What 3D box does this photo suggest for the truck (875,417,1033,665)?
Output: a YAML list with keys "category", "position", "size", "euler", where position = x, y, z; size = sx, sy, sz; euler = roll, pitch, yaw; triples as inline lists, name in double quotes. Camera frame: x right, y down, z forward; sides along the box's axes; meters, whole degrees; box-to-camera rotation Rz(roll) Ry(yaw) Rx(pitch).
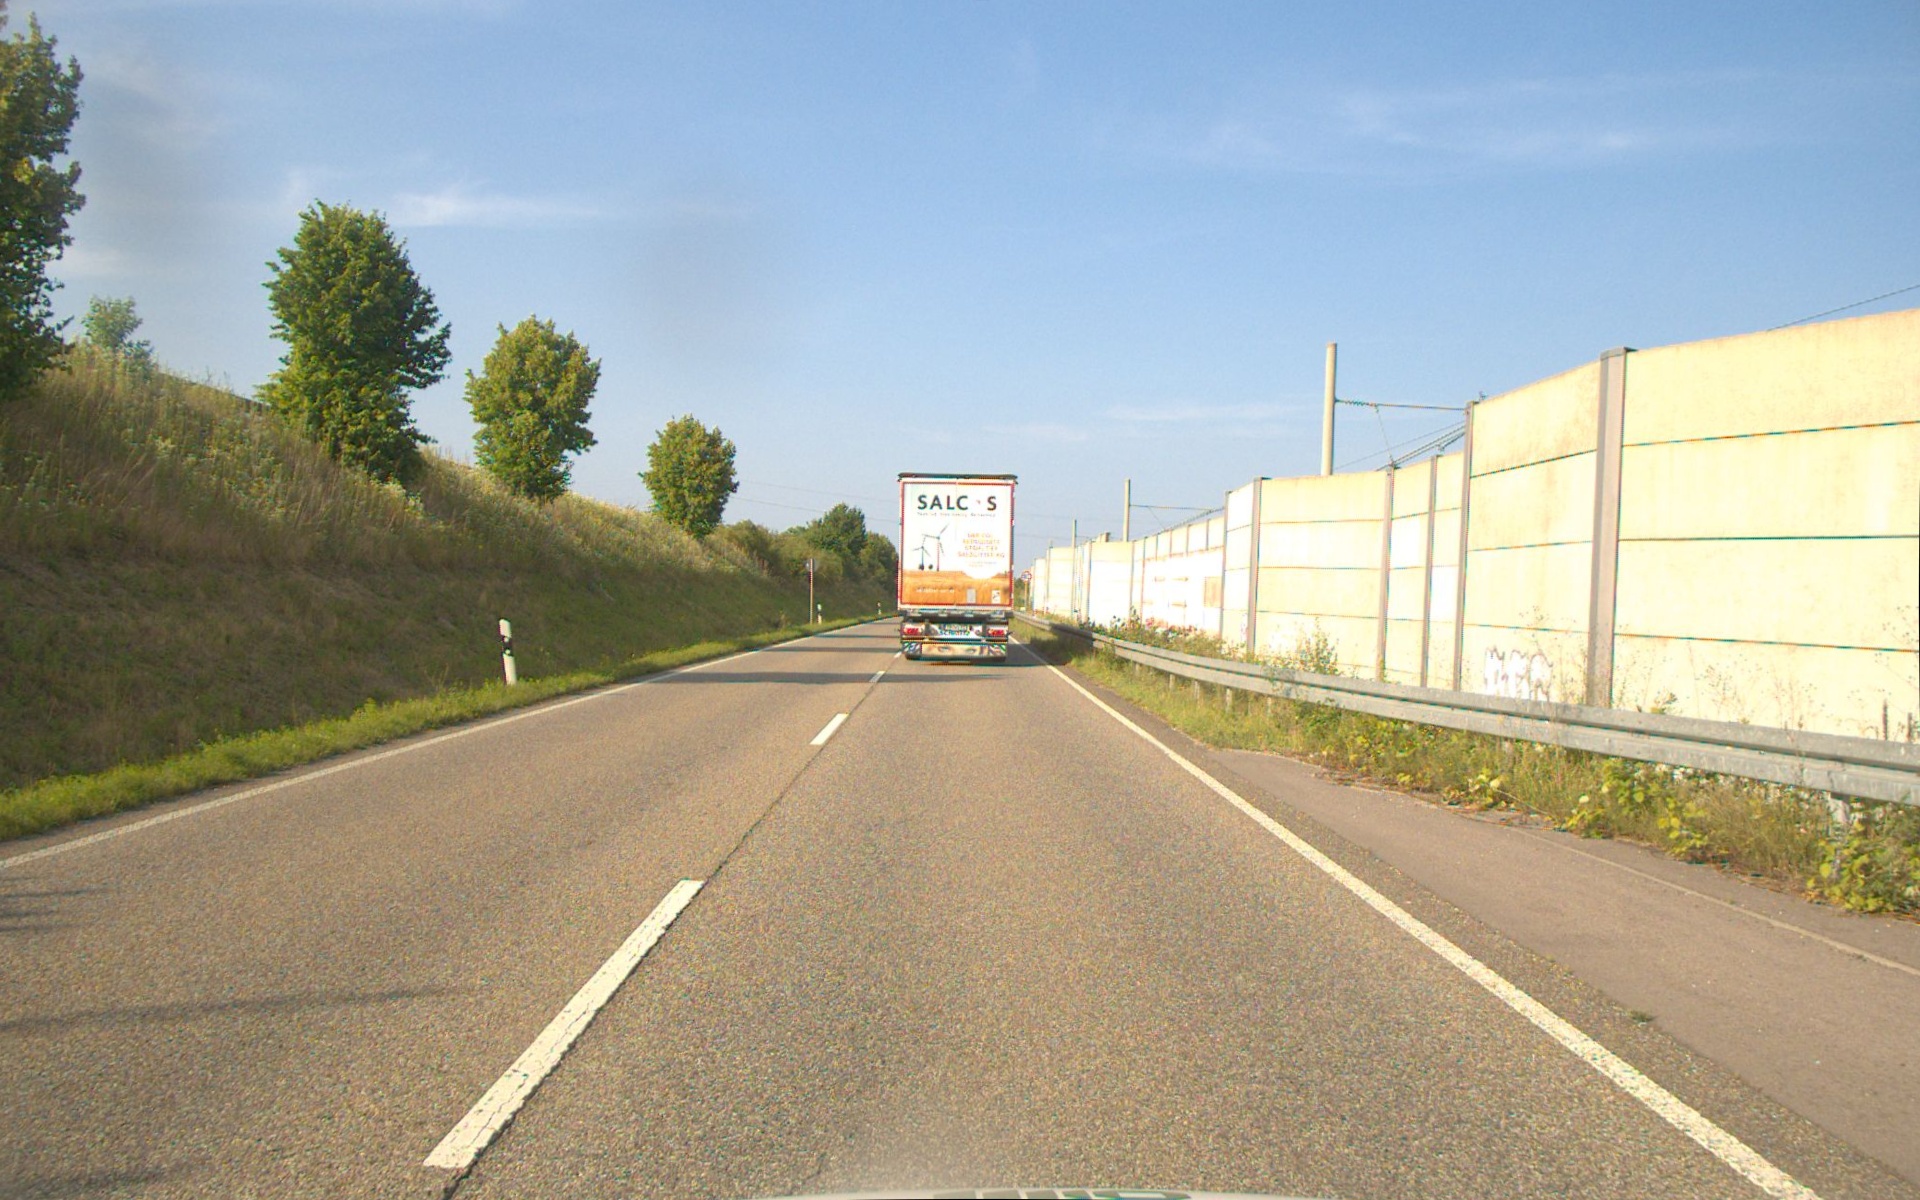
- category: "truck"
  position: [-0.250, -1.270, 41.296]
  size: [3.224, 5.179, 12.034]
  euler: [2, 0, -1]
